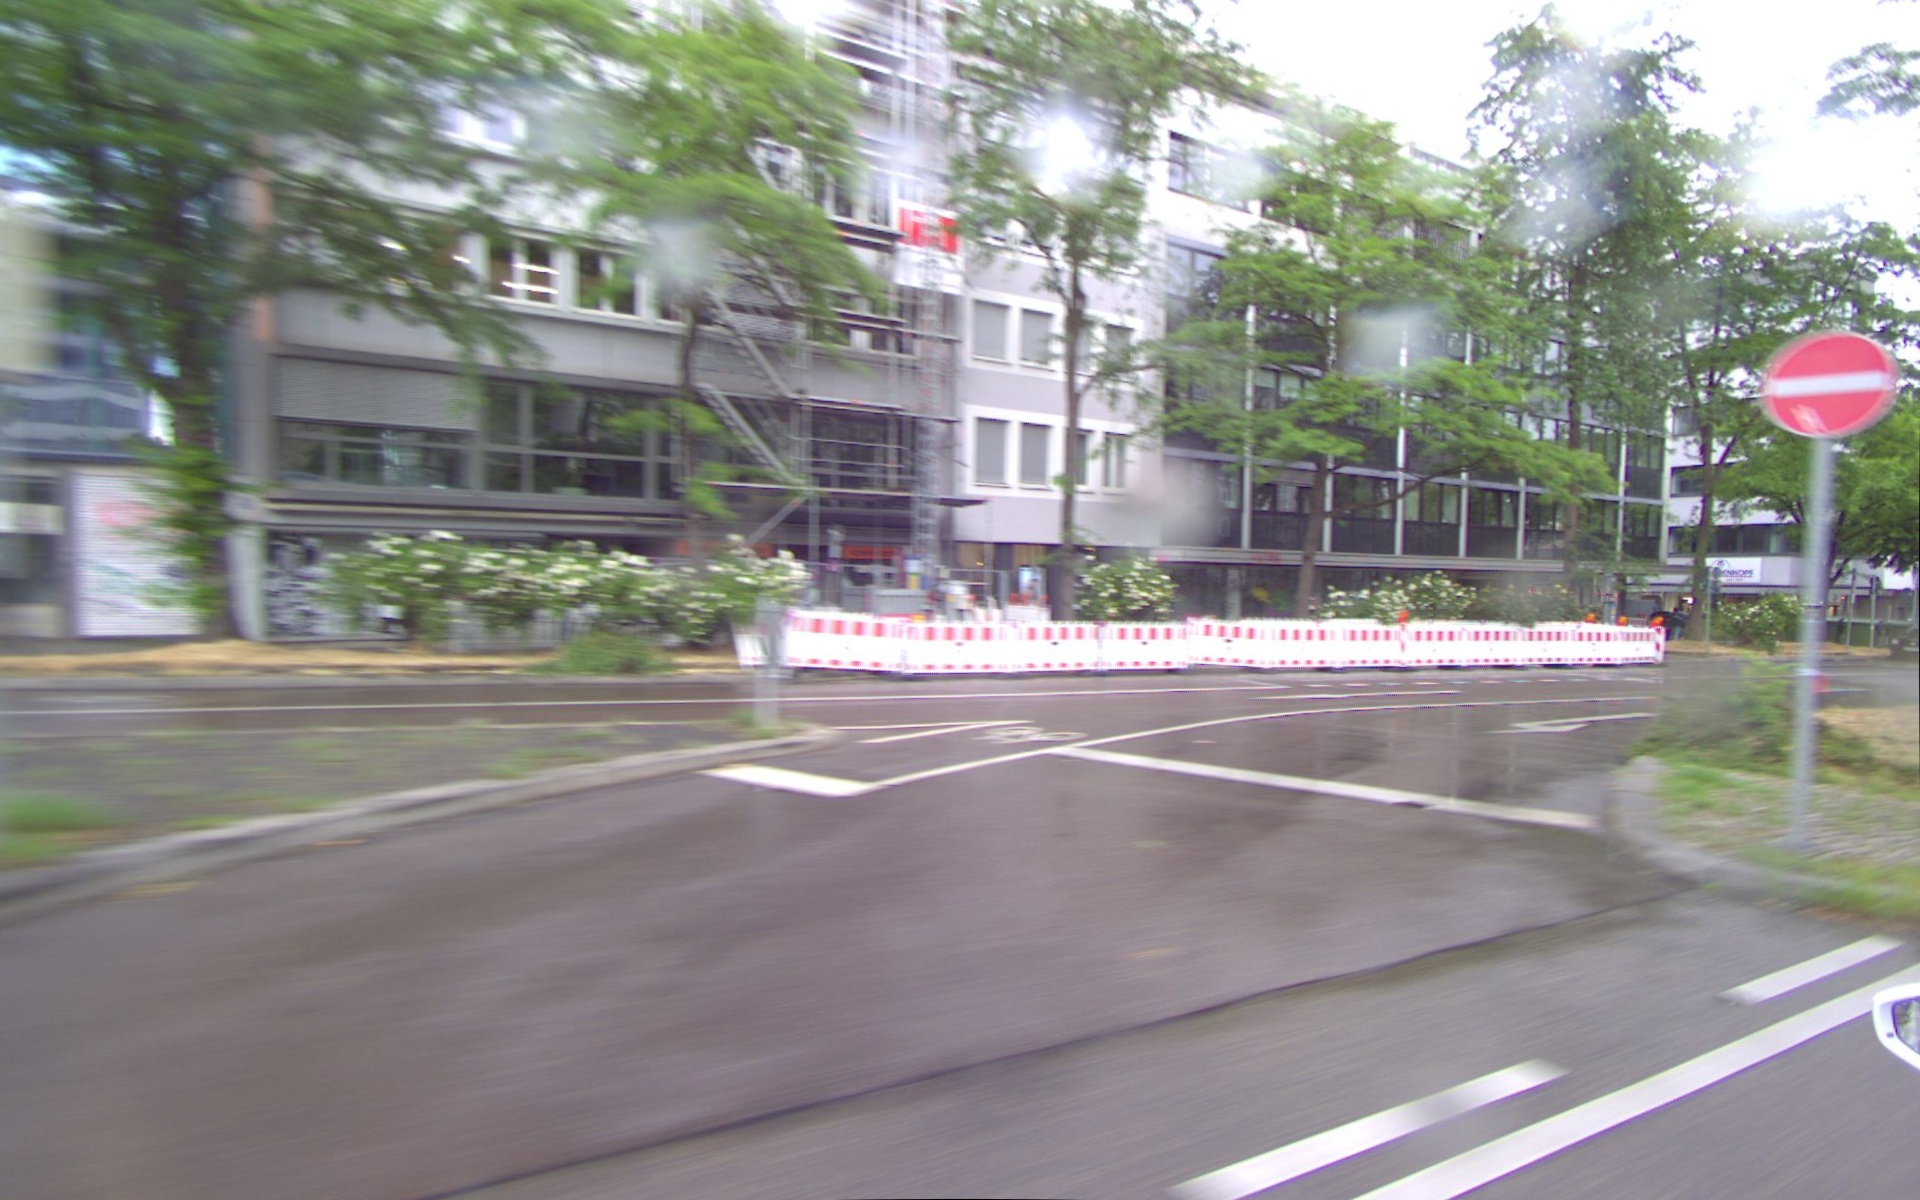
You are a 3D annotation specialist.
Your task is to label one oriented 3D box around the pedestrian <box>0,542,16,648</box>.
[{"bbox_3d":[-16.447,-0.108,16.907,0.688,1.765,0.691,2,2,-35],"label":"pedestrian"}]
